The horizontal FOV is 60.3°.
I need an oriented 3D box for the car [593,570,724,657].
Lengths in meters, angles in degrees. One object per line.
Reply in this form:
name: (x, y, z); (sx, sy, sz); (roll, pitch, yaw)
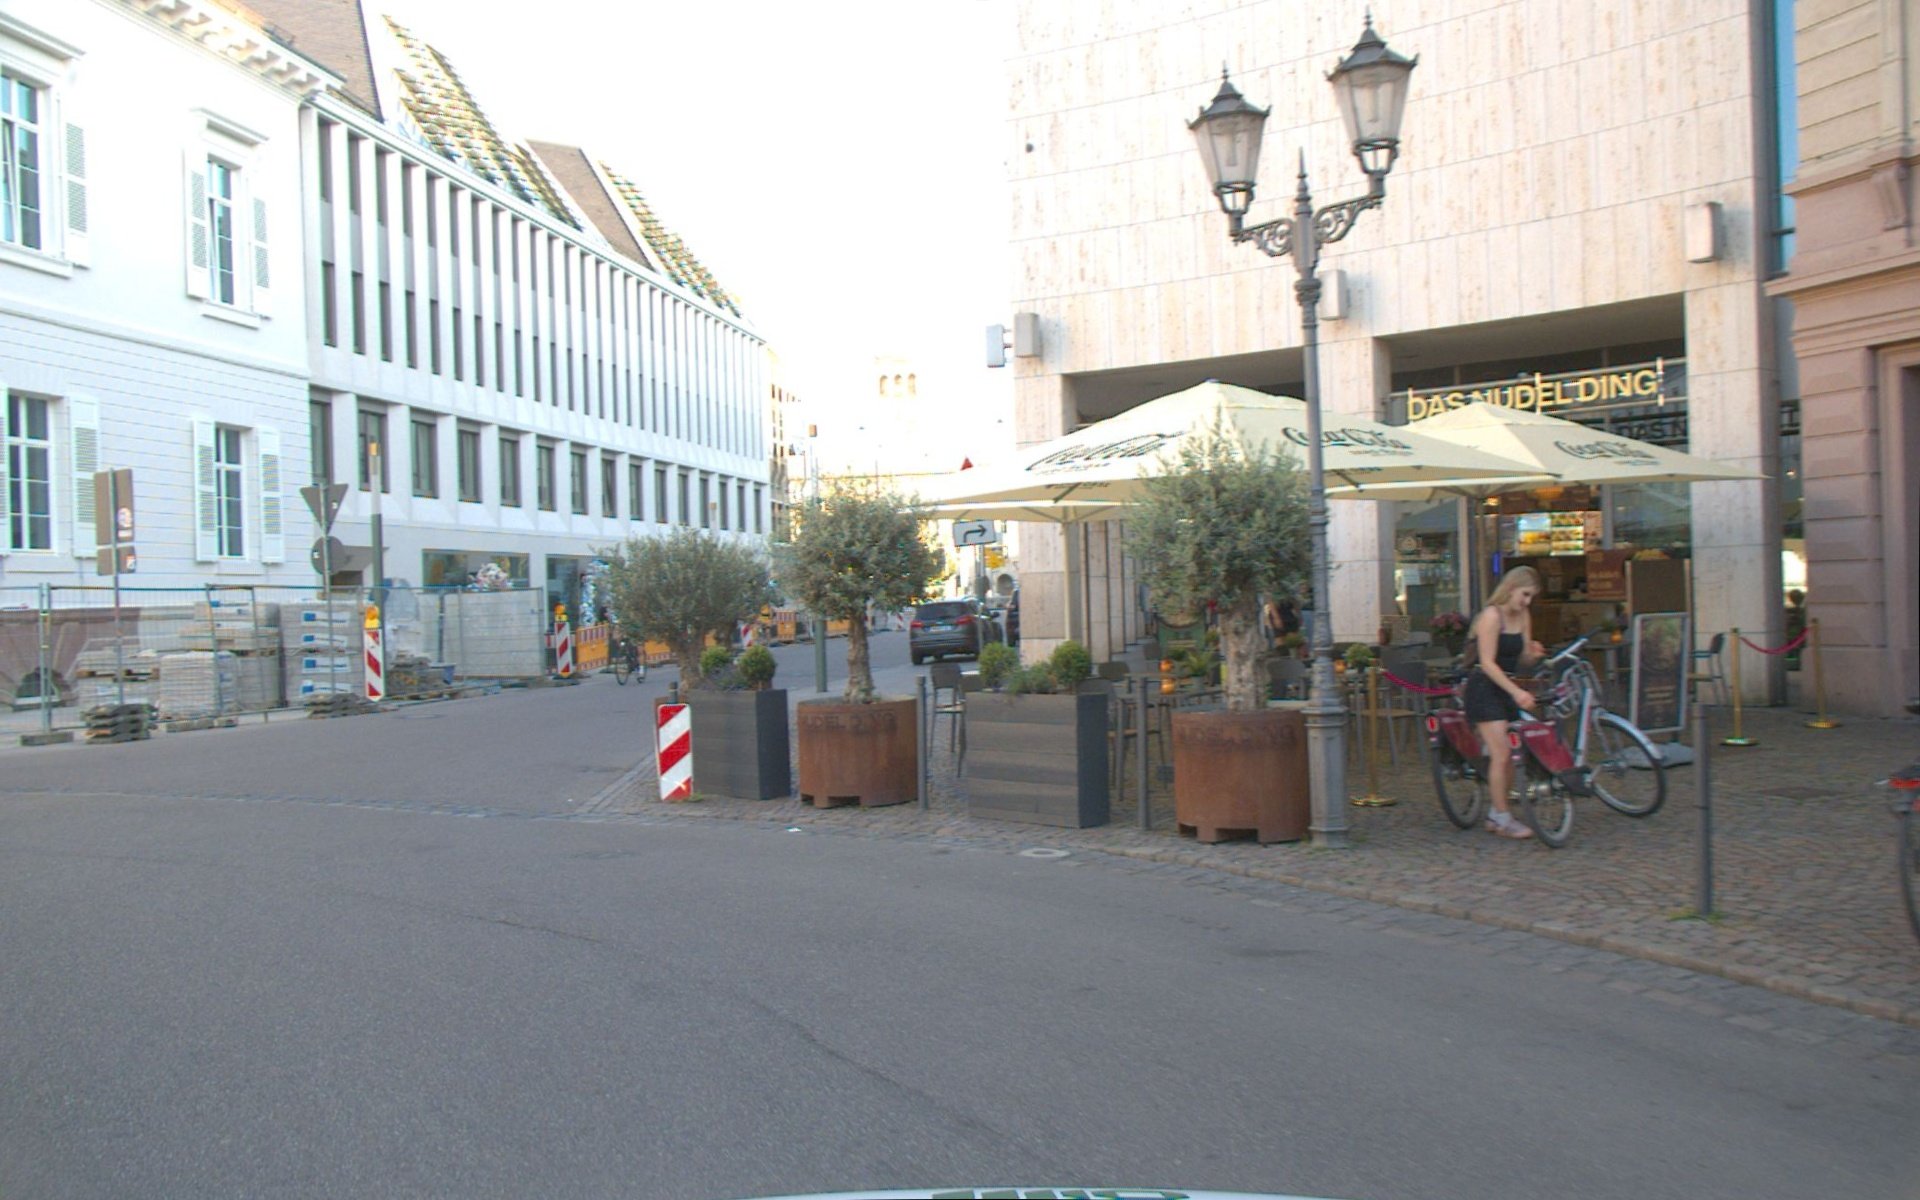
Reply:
car: (-9.305, 0.374, 51.646); (2.127, 2.513, 6.004); (-2, 0, 8)

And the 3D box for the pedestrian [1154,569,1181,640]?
pedestrian: (5.423, 0.114, 43.194); (0.620, 1.804, 0.776); (-2, 2, 8)

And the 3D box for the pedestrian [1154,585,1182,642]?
pedestrian: (5.159, 0.331, 40.988); (0.620, 1.369, 0.776); (-2, 2, 8)

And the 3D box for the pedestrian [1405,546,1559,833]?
pedestrian: (3.096, 0.503, 9.782); (0.732, 1.616, 0.714); (-2, 0, 26)

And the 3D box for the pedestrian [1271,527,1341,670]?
pedestrian: (4.697, -0.024, 22.450); (0.702, 1.894, 0.668); (-2, 0, 31)

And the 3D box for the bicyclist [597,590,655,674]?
bicyclist: (-6.693, 0.624, 33.203); (0.779, 1.631, 1.231); (-2, 0, 4)

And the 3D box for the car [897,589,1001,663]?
car: (-0.199, 0.585, 39.675); (1.757, 1.516, 4.196); (-5, 0, 8)

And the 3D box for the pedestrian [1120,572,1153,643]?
pedestrian: (4.409, 0.183, 41.343); (0.748, 1.710, 0.878); (-2, 2, 8)

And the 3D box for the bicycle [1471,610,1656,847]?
bicycle: (3.610, 0.700, 9.796); (0.594, 1.147, 1.901); (-2, 2, 33)

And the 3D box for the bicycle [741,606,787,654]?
bicycle: (-5.430, 0.811, 45.927); (0.779, 1.238, 2.235); (-2, 0, 5)

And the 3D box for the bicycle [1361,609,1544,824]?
bicycle: (3.216, 0.695, 10.684); (0.594, 1.147, 1.901); (-2, 2, 33)

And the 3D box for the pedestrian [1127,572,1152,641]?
pedestrian: (4.604, 0.167, 42.380); (0.578, 1.728, 0.696); (-2, 0, 6)

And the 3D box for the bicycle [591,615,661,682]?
bicycle: (-6.685, 0.950, 33.196); (0.779, 1.238, 2.234); (-2, 0, 4)

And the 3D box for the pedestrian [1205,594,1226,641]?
pedestrian: (6.280, 0.421, 40.684); (0.476, 1.116, 0.602); (-2, 2, 8)

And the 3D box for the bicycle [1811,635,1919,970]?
bicycle: (4.233, 0.774, 6.988); (0.597, 1.147, 1.894); (-1, 3, 44)

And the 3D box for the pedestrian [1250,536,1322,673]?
pedestrian: (4.310, 0.059, 21.821); (0.702, 1.776, 0.668); (-2, 0, 31)

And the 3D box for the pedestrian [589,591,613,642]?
pedestrian: (-11.473, 0.521, 52.891); (0.531, 1.605, 0.580); (-2, 0, 6)

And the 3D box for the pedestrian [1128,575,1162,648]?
pedestrian: (4.501, 0.280, 40.259); (0.748, 1.710, 0.878); (-2, 2, 8)

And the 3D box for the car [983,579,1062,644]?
car: (1.859, 0.301, 48.114); (1.731, 1.666, 4.061); (-5, 0, 8)

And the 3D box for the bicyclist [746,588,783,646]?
bicyclist: (-5.420, 0.465, 45.954); (0.779, 1.559, 0.975); (-2, 0, 5)

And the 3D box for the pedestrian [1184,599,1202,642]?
pedestrian: (5.755, 0.502, 40.815); (0.411, 1.003, 0.526); (-2, 2, 8)
